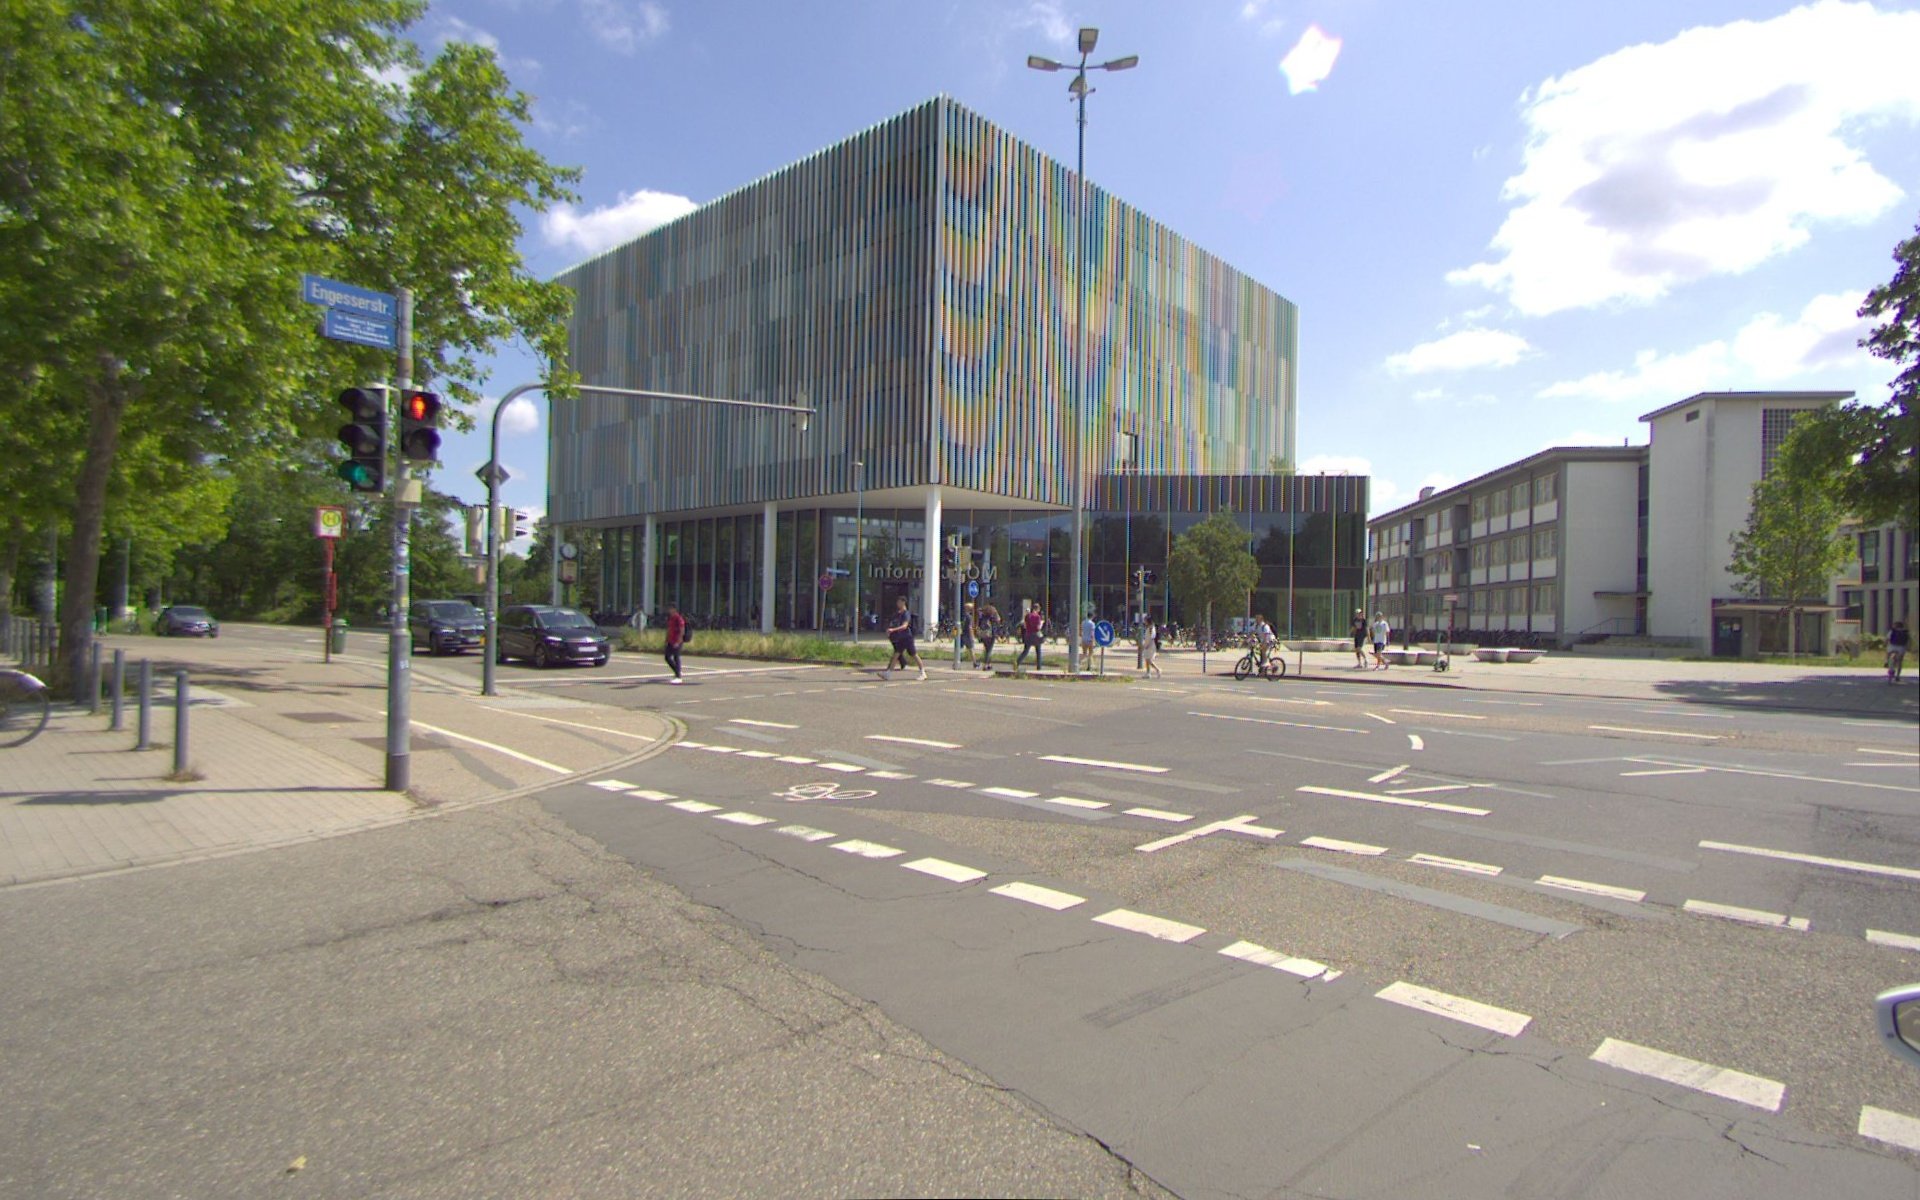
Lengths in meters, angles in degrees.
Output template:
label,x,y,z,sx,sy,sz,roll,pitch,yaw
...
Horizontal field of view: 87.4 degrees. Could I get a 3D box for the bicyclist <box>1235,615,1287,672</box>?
label,x,y,z,sx,sy,sz,roll,pitch,yaw
bicyclist,8.157,1.173,27.225,1.054,1.487,0.847,2,-1,-25

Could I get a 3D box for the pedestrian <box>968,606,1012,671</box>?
label,x,y,z,sx,sy,sz,roll,pitch,yaw
pedestrian,0.800,1.015,26.597,0.851,1.676,0.822,2,-1,-27

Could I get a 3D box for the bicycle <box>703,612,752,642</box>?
label,x,y,z,sx,sy,sz,roll,pitch,yaw
bicycle,-14.966,1.741,64.717,0.949,1.863,2.933,2,-1,44

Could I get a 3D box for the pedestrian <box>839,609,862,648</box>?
label,x,y,z,sx,sy,sz,roll,pitch,yaw
pedestrian,-6.826,1.775,62.590,0.962,2.377,1.009,2,-1,42

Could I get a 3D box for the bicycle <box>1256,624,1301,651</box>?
label,x,y,z,sx,sy,sz,roll,pitch,yaw
bicycle,16.088,1.868,50.856,1.178,1.253,2.950,2,-1,-3

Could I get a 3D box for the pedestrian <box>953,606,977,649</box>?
label,x,y,z,sx,sy,sz,roll,pitch,yaw
pedestrian,0.292,1.672,60.801,0.962,2.599,1.009,2,-1,42

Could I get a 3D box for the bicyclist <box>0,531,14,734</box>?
label,x,y,z,sx,sy,sz,roll,pitch,yaw
bicyclist,-9.217,0.293,8.980,0.990,1.841,0.783,2,-1,-38

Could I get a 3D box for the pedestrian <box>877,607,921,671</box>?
label,x,y,z,sx,sy,sz,roll,pitch,yaw
pedestrian,-1.554,0.993,25.724,0.762,1.619,0.794,0,-1,44

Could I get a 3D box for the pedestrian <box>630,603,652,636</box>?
label,x,y,z,sx,sy,sz,roll,pitch,yaw
pedestrian,-21.564,1.321,67.816,0.962,2.230,1.009,2,-1,42

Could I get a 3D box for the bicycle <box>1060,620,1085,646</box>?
label,x,y,z,sx,sy,sz,roll,pitch,yaw
bicycle,5.796,1.702,51.848,1.177,1.253,2.953,2,-1,6

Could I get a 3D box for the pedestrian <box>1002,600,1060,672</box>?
label,x,y,z,sx,sy,sz,roll,pitch,yaw
pedestrian,1.840,0.933,26.038,1.251,1.831,0.803,2,-1,-27

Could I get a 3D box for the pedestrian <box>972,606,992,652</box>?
label,x,y,z,sx,sy,sz,roll,pitch,yaw
pedestrian,1.283,1.661,57.852,0.956,2.599,1.015,2,-1,6

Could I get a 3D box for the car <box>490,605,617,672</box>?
label,x,y,z,sx,sy,sz,roll,pitch,yaw
car,-11.225,1.007,27.608,4.236,1.683,1.643,0,-1,44

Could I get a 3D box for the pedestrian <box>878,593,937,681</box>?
label,x,y,z,sx,sy,sz,roll,pitch,yaw
pedestrian,-1.174,0.820,22.406,1.069,1.895,0.827,1,-1,-25

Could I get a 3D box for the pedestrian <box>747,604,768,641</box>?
label,x,y,z,sx,sy,sz,roll,pitch,yaw
pedestrian,-13.368,1.477,66.424,0.962,2.377,0.885,2,-1,42

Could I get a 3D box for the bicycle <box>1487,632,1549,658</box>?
label,x,y,z,sx,sy,sz,roll,pitch,yaw
bicycle,32.182,2.577,57.950,2.906,1.381,1.118,2,-1,5

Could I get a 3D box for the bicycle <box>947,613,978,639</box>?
label,x,y,z,sx,sy,sz,roll,pitch,yaw
bicycle,0.153,1.334,52.367,1.350,1.253,2.953,2,-1,6

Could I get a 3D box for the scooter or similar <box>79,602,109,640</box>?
label,x,y,z,sx,sy,sz,roll,pitch,yaw
scooter or similar,-36.199,0.873,41.984,0.727,1.559,2.617,2,-1,-45

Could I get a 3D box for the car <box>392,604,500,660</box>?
label,x,y,z,sx,sy,sz,roll,pitch,yaw
car,-16.935,1.006,32.983,4.758,1.683,1.643,0,-1,44

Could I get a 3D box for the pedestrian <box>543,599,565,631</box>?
label,x,y,z,sx,sy,sz,roll,pitch,yaw
pedestrian,-28.980,1.082,71.668,0.962,2.205,1.122,2,-1,42

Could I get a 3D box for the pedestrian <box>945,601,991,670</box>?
label,x,y,z,sx,sy,sz,roll,pitch,yaw
pedestrian,0.229,0.998,28.433,0.993,1.901,0.849,2,-1,-27

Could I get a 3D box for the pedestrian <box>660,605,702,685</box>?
label,x,y,z,sx,sy,sz,roll,pitch,yaw
pedestrian,-6.063,0.964,21.831,0.745,1.700,0.751,1,-1,-25

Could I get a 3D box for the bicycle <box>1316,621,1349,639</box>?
label,x,y,z,sx,sy,sz,roll,pitch,yaw
bicycle,35.952,2.896,97.000,2.922,1.595,1.113,2,-1,-21

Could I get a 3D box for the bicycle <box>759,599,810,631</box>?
label,x,y,z,sx,sy,sz,roll,pitch,yaw
bicycle,-10.853,0.948,62.112,2.926,1.863,1.006,3,-1,-38

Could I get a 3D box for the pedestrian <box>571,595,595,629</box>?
label,x,y,z,sx,sy,sz,roll,pitch,yaw
pedestrian,-25.625,0.817,68.263,0.962,2.205,1.122,2,-1,42

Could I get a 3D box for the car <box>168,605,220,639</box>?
label,x,y,z,sx,sy,sz,roll,pitch,yaw
car,-35.623,0.986,46.682,1.628,1.505,3.951,2,-1,-41

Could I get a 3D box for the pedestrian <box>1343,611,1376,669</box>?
label,x,y,z,sx,sy,sz,roll,pitch,yaw
pedestrian,12.879,1.275,32.378,0.658,1.839,0.815,2,-1,-5

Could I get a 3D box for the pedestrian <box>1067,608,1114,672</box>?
label,x,y,z,sx,sy,sz,roll,pitch,yaw
pedestrian,3.857,1.177,29.730,1.081,1.843,0.859,1,-1,-25

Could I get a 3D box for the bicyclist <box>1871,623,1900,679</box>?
label,x,y,z,sx,sy,sz,roll,pitch,yaw
bicyclist,24.874,1.372,26.990,0.782,1.471,0.509,2,-1,-44

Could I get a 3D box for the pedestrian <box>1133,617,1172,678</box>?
label,x,y,z,sx,sy,sz,roll,pitch,yaw
pedestrian,4.983,1.219,25.985,0.811,1.543,0.815,1,-1,23

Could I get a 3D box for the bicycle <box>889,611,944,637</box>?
label,x,y,z,sx,sy,sz,roll,pitch,yaw
bicycle,-2.261,1.254,52.283,2.905,1.253,1.013,2,-1,39

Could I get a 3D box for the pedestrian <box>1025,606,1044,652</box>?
label,x,y,z,sx,sy,sz,roll,pitch,yaw
pedestrian,4.273,1.654,57.711,0.956,2.599,1.015,2,0,-1

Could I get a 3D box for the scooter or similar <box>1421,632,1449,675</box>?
label,x,y,z,sx,sy,sz,roll,pitch,yaw
scooter or similar,14.453,1.609,30.568,0.705,1.194,2.723,1,0,25

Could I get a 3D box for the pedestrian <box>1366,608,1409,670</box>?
label,x,y,z,sx,sy,sz,roll,pitch,yaw
pedestrian,13.386,1.217,31.447,0.852,1.914,0.912,2,-1,-9

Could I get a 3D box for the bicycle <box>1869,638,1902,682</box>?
label,x,y,z,sx,sy,sz,roll,pitch,yaw
bicycle,24.933,1.602,27.059,2.160,1.146,0.544,2,-1,-45

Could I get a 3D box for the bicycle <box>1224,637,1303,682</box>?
label,x,y,z,sx,sy,sz,roll,pitch,yaw
bicycle,8.238,1.616,27.264,1.968,1.161,0.845,2,-1,-25
